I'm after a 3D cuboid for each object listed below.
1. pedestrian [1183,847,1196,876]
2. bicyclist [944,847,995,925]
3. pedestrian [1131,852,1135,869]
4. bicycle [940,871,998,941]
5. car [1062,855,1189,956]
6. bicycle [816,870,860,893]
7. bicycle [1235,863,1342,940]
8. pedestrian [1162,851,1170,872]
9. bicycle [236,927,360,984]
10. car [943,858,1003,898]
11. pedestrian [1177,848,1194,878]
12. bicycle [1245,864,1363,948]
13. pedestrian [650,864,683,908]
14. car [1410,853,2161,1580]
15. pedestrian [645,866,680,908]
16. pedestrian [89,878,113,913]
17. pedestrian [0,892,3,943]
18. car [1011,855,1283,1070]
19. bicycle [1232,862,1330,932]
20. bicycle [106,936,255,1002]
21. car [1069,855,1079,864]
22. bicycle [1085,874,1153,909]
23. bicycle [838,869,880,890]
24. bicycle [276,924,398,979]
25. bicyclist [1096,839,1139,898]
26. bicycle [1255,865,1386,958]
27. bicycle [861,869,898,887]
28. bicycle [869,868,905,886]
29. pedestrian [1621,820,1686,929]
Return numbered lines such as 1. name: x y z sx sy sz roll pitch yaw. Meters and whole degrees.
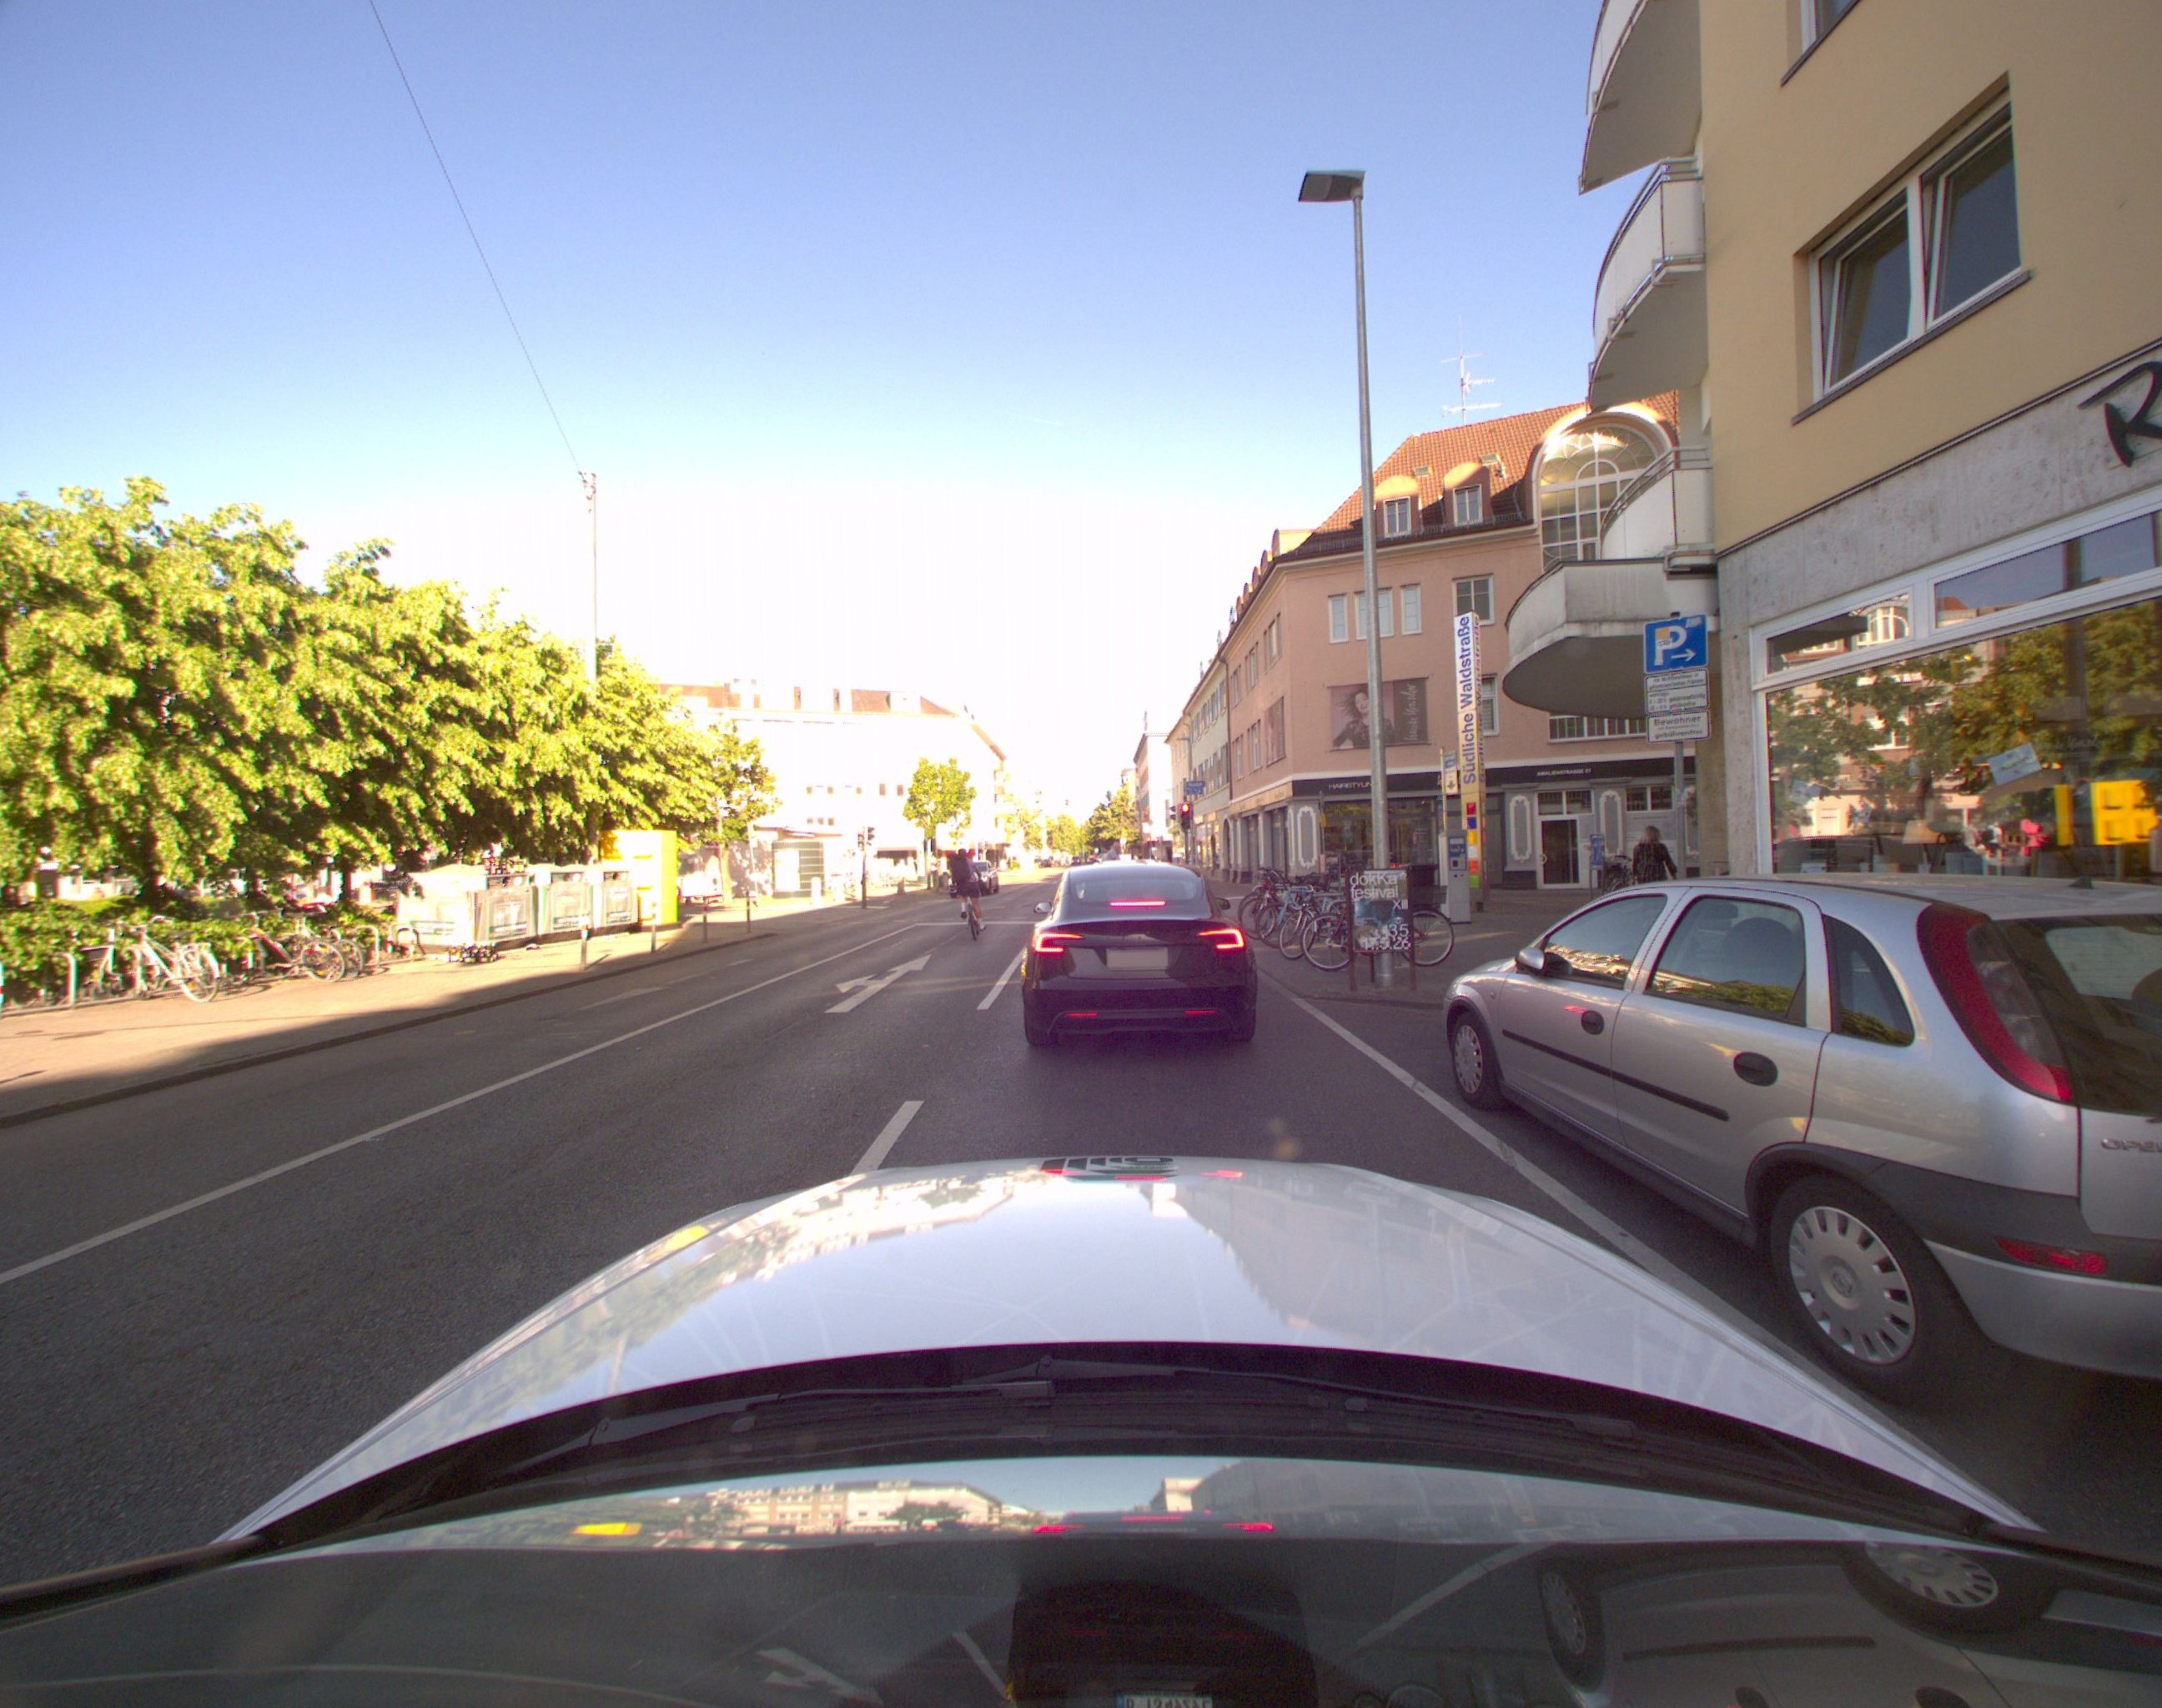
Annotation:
1. pedestrian: 6.671 0.465 50.184 0.701 1.783 0.534 -1 0 1
2. bicyclist: -2.139 0.599 15.721 0.793 1.435 1.008 -1 0 1
3. pedestrian: 6.041 0.737 94.765 0.383 2.013 0.297 -1 0 1
4. bicycle: -2.127 0.961 15.713 0.793 1.233 1.774 -1 0 2
5. car: 0.744 0.768 13.910 1.842 1.455 3.788 -1 0 3
6. bicycle: -12.851 1.454 43.134 2.075 1.104 0.806 -1 0 1
7. bicycle: 3.444 0.782 13.584 1.622 1.160 0.433 -3 0 0
8. pedestrian: 6.995 0.646 67.212 0.568 1.691 0.387 -1 0 1
9. bicycle: -11.297 1.456 11.766 1.465 0.769 0.442 -1 -1 6
10. car: -4.857 1.051 37.212 1.986 1.541 4.002 -5 0 2
11. pedestrian: 6.428 0.557 50.124 0.995 1.850 0.615 -1 0 1
12. bicycle: 3.390 0.786 12.422 1.622 1.160 0.433 -3 0 0
13. pedestrian: -16.613 1.285 32.674 0.897 1.725 0.745 -1 0 5
14. car: 2.951 0.712 3.520 1.615 1.394 3.888 -1 0 3
15. pedestrian: -16.776 1.327 32.676 0.981 1.636 0.738 -1 0 5
16. pedestrian: -50.861 2.160 42.274 0.576 1.792 0.604 -1 -1 19
17. pedestrian: -42.665 2.483 31.686 0.577 2.014 0.682 -1 -1 9
18. car: 0.540 0.755 7.526 1.842 1.455 3.788 -1 0 3
19. bicycle: 3.620 0.771 14.802 1.621 1.160 0.433 -3 0 2
20. bicycle: -11.460 1.448 10.371 1.645 0.769 0.476 -1 -1 10
21. car: -1.360 1.115 158.836 1.824 1.724 4.000 -1 0 0
22. bicycle: 1.095 1.065 23.288 1.850 0.946 0.631 0 0 12
23. bicycle: -12.435 1.444 45.646 2.075 1.104 0.806 -1 0 1
24. bicycle: -11.252 1.465 12.327 1.466 0.769 0.475 -1 -1 4
25. bicyclist: 1.051 0.409 23.308 1.112 1.654 0.631 -1 0 12
26. bicycle: 3.286 0.777 11.245 1.622 1.160 0.433 -3 0 0
27. bicycle: -12.482 1.485 50.425 2.075 1.104 0.806 -1 0 1
28. bicycle: -12.524 1.456 52.622 2.075 1.104 0.806 -1 0 1
29. pedestrian: 8.869 0.315 12.626 0.656 1.633 0.631 -5 -1 42
